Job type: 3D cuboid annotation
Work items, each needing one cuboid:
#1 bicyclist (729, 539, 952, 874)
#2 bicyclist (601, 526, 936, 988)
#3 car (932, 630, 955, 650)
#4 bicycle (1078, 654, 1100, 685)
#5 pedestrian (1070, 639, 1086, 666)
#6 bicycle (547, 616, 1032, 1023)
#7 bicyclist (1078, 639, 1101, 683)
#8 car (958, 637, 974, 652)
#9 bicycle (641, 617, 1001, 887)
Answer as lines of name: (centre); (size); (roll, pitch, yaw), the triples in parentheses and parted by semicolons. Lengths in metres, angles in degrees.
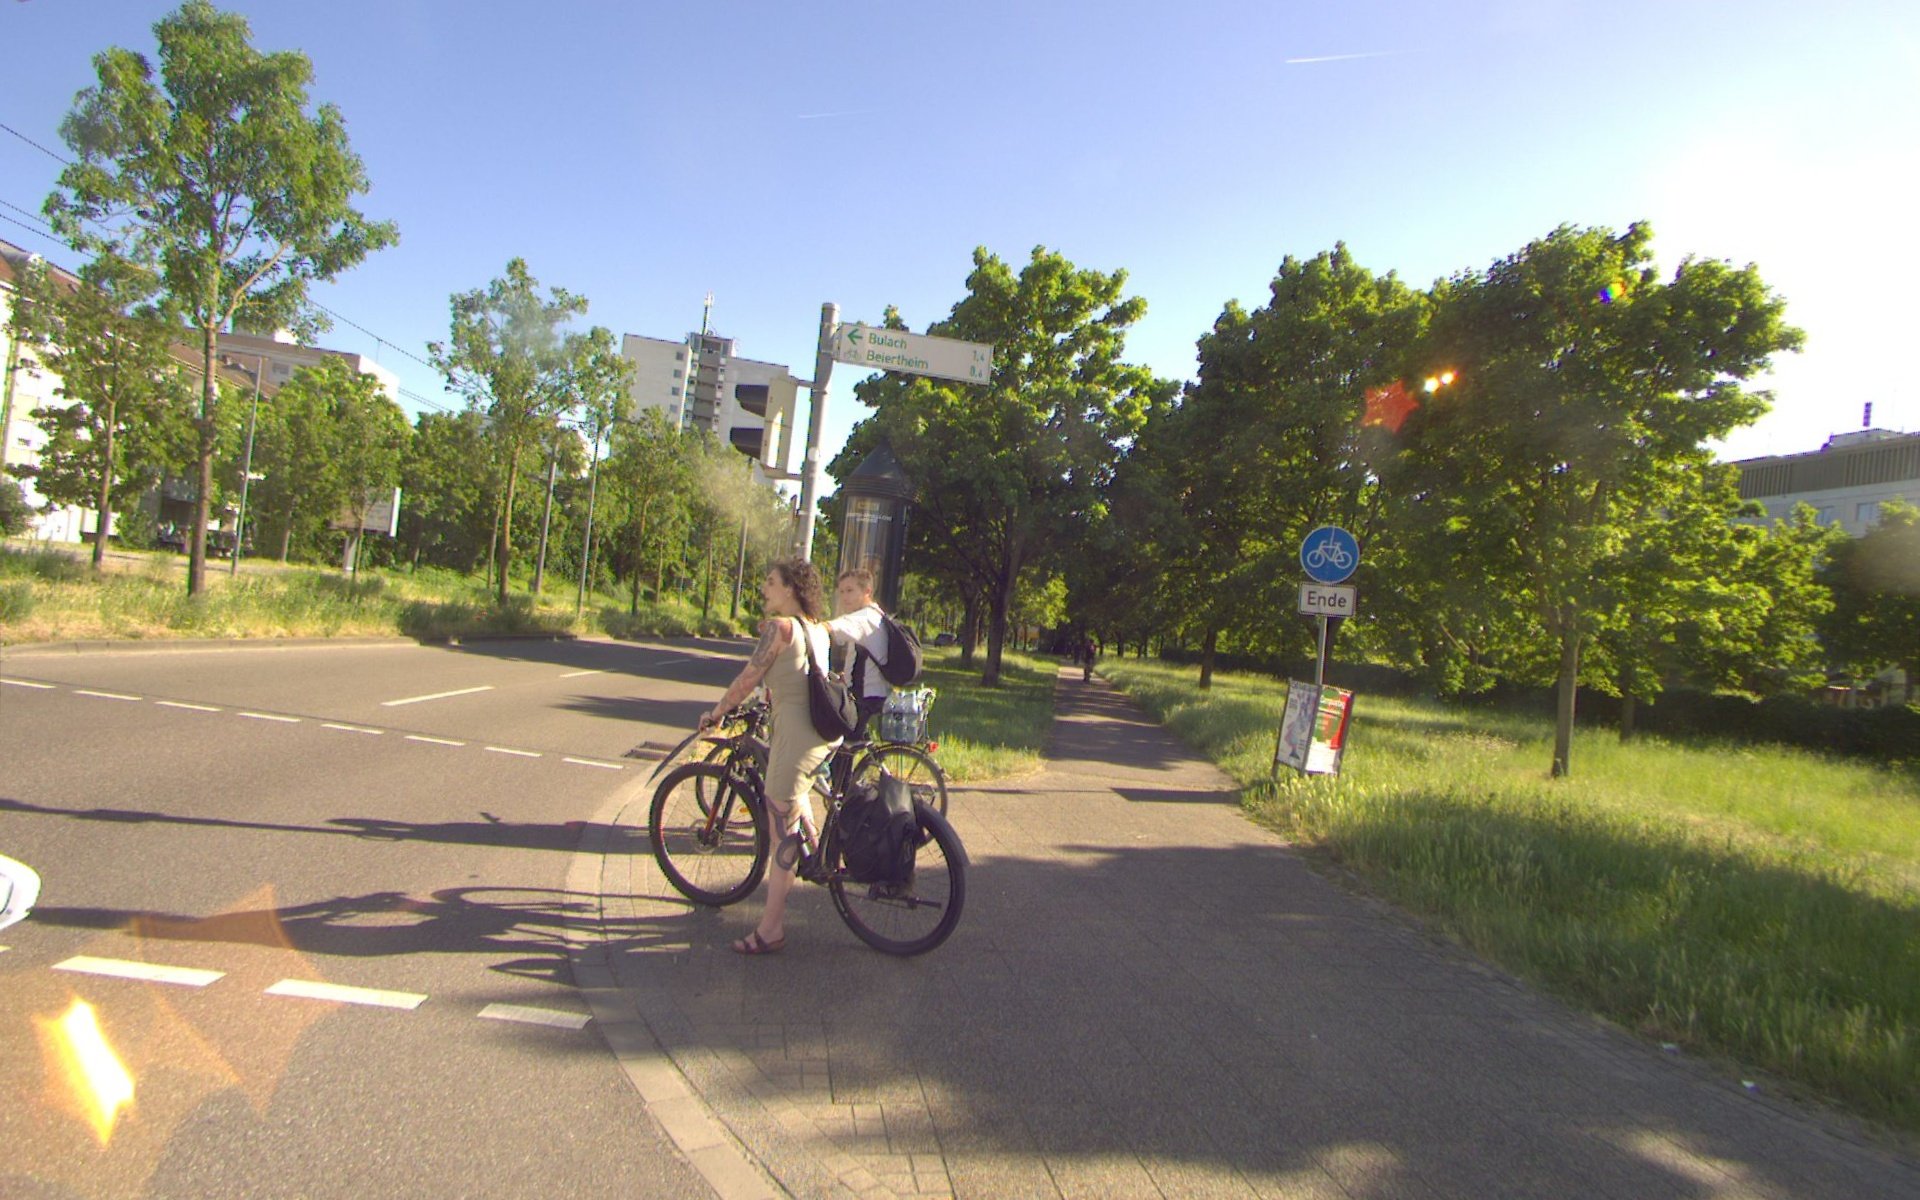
bicyclist: (-0.784, 0.664, 6.696); (0.993, 1.983, 0.792); (6, 0, 27)
bicyclist: (-0.890, 0.660, 4.755); (1.115, 1.846, 0.792); (6, 0, 27)
car: (-1.491, 3.753, 93.791); (1.661, 1.594, 3.879); (6, -4, 4)
bicycle: (4.962, 2.683, 38.857); (0.660, 1.067, 1.813); (7, -1, 5)
pedestrian: (7.941, 3.532, 67.847); (0.727, 1.747, 0.888); (7, -1, -7)
bicycle: (-0.827, 0.882, 4.700); (2.042, 1.364, 0.792); (6, 0, 28)
bicyclist: (5.006, 2.349, 38.963); (0.660, 1.605, 1.005); (7, 0, 5)
car: (0.777, 5.623, 126.398); (1.661, 1.594, 3.879); (6, -4, 5)
bicycle: (-0.965, 0.932, 6.780); (2.223, 1.364, 0.792); (6, 0, 28)
